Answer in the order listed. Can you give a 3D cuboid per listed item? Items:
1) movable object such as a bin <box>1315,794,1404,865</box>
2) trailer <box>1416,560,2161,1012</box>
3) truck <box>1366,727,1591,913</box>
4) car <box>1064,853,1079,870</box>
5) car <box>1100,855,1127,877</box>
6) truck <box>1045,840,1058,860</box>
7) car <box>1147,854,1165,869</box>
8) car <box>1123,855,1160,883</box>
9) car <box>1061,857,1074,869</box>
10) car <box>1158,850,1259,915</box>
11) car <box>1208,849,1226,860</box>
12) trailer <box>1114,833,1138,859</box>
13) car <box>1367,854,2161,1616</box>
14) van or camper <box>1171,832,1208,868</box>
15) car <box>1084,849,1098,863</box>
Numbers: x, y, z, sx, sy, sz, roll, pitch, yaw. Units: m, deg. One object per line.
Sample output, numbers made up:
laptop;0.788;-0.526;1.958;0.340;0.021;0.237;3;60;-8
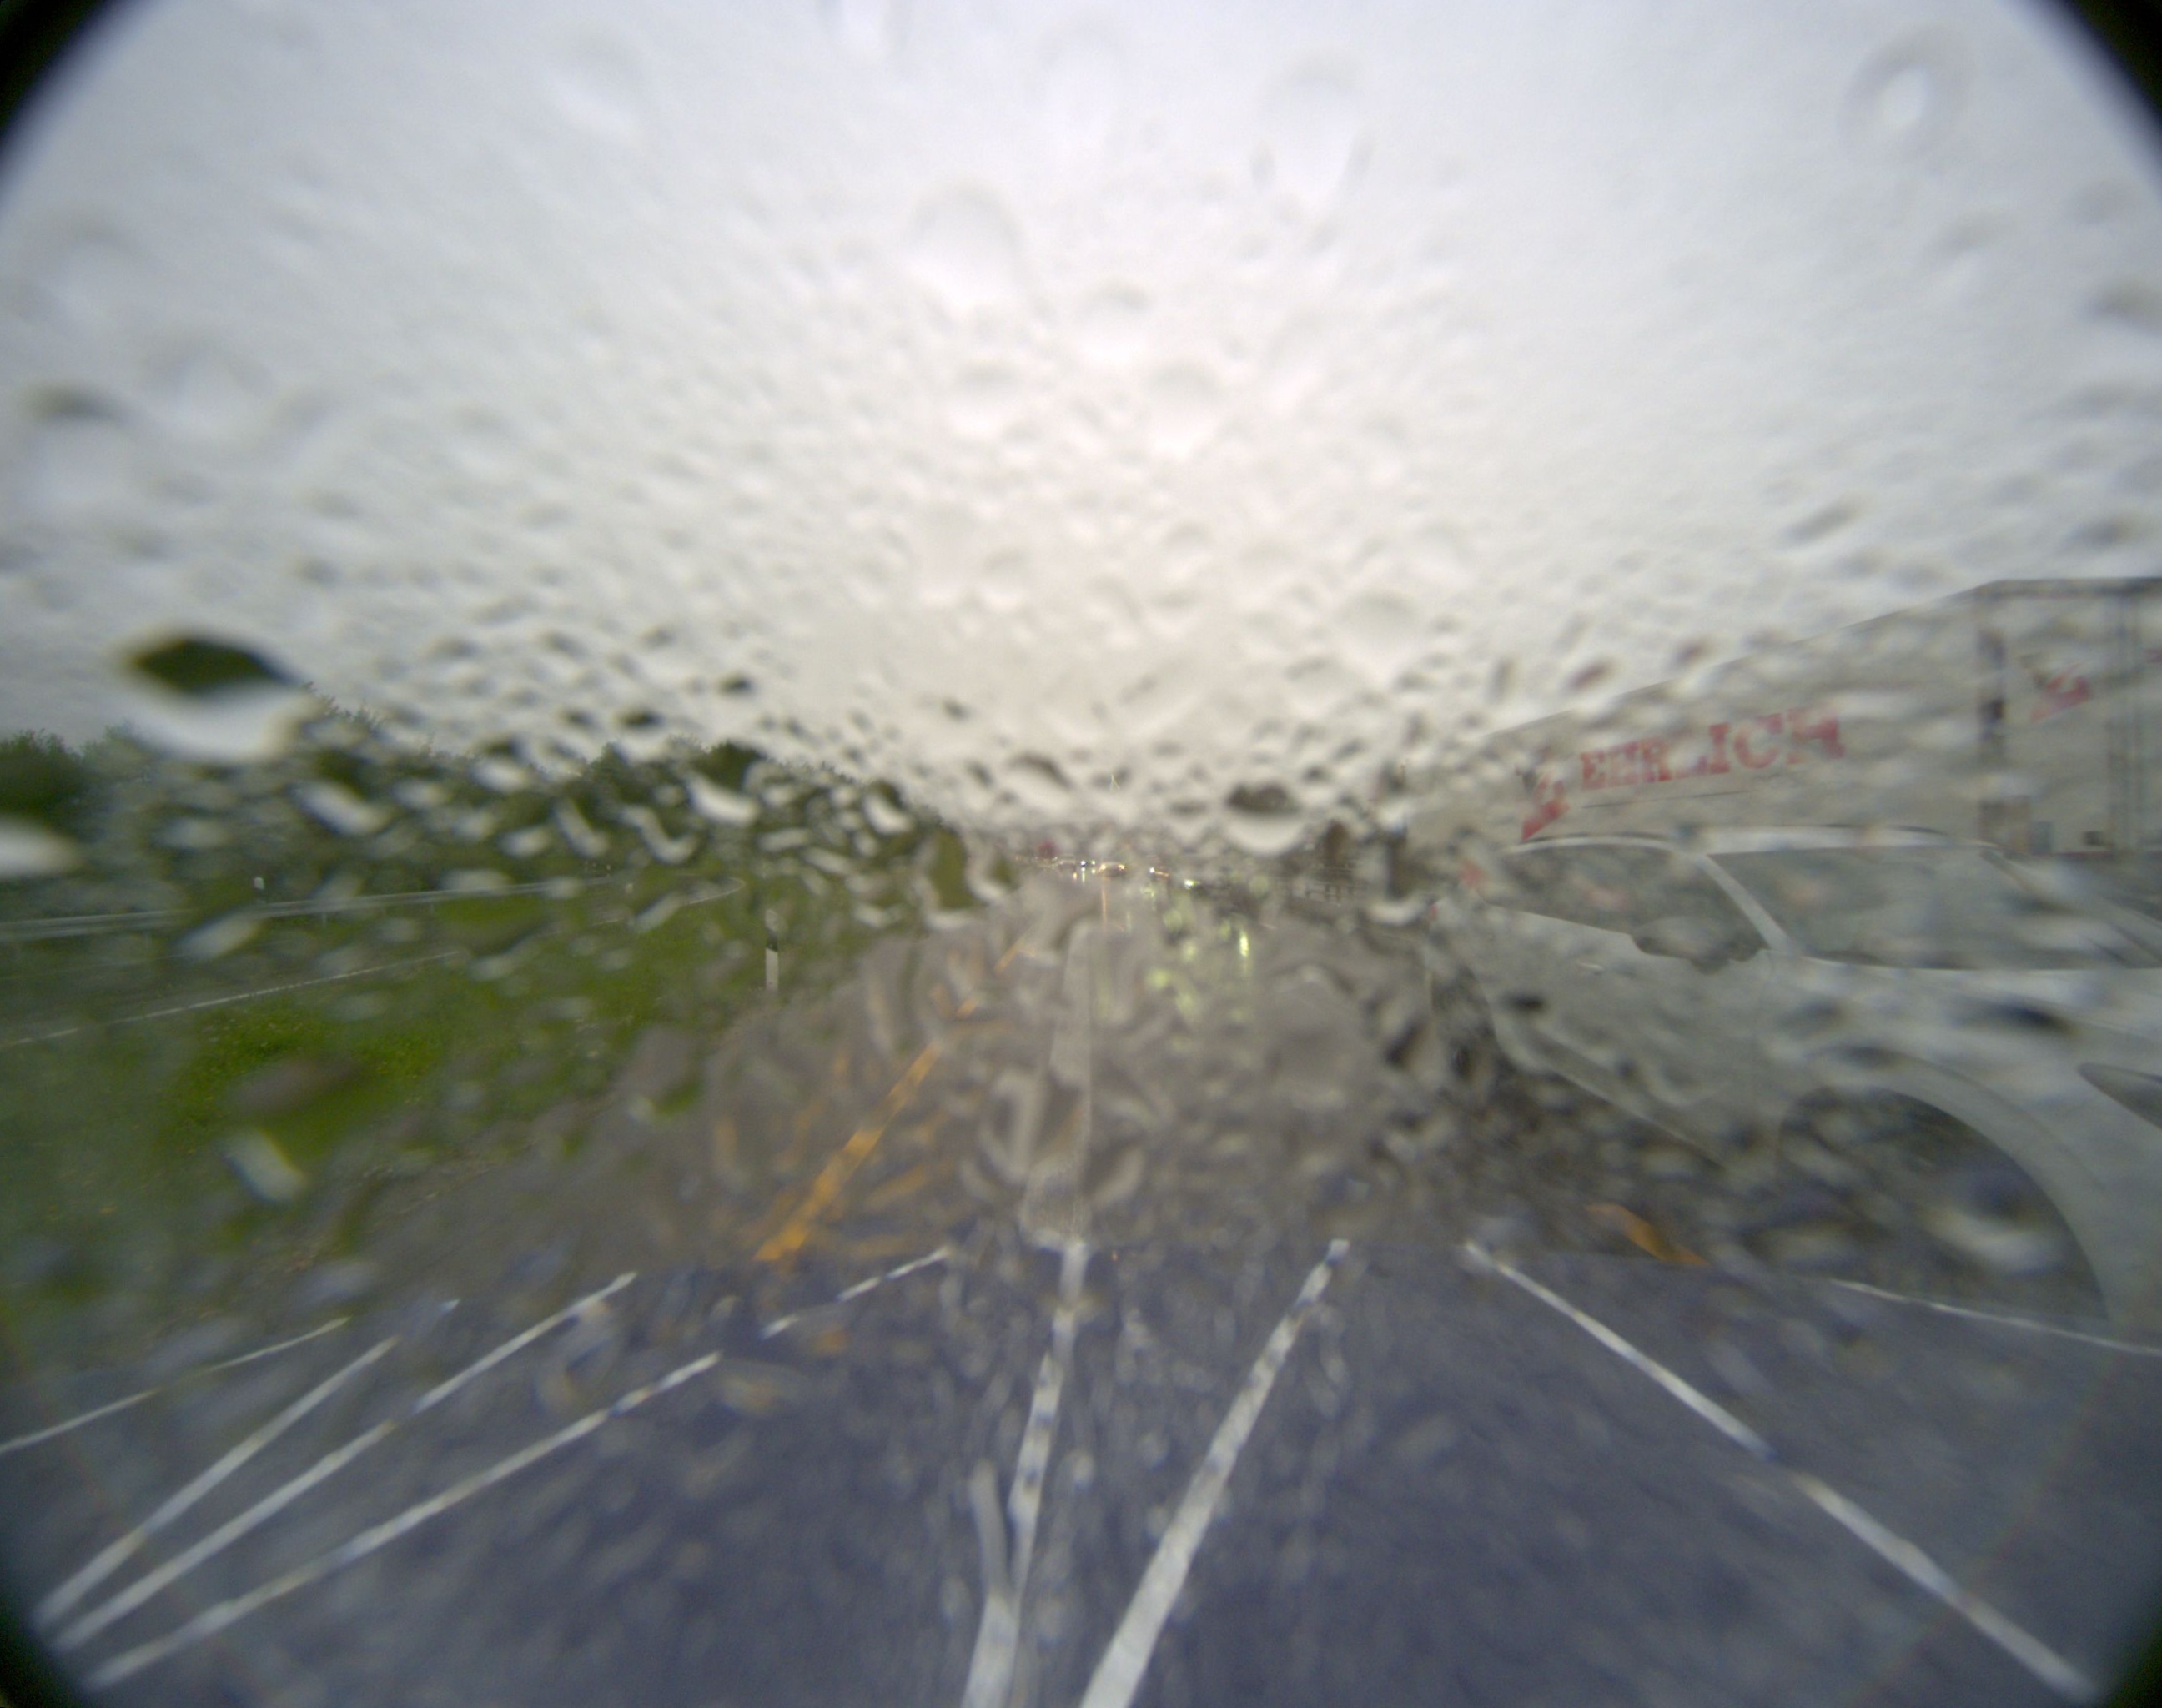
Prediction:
movable object such as a bin;25.592;-2.134;70.617;4.181;5.881;11.044;-3;1;1
trailer;10.219;-0.722;13.654;2.900;4.261;12.893;-1;1;1
truck;10.338;-0.815;20.629;2.896;4.207;6.326;-1;1;1
car;-1.058;0.845;88.283;1.673;1.804;3.999;0;1;-1
car;2.663;0.972;63.104;1.881;1.772;3.999;0;1;-3
truck;-6.426;-0.961;165.168;2.507;4.067;15.197;-3;1;-2
car;9.012;0.852;91.590;1.640;1.658;4.543;-3;1;0
car;3.575;0.845;45.277;1.792;1.480;3.999;-3;1;0
car;-2.050;1.345;113.489;1.674;1.804;3.998;0;1;-5
car;3.517;0.707;21.942;2.069;1.618;5.195;-1;0;1
car;26.326;0.133;147.095;2.100;1.955;5.362;-1;0;-4
trailer;7.491;-1.329;127.874;2.984;4.270;11.057;0;1;-2
car;3.274;0.824;3.599;1.932;1.542;5.006;-2;0;0
van or camper;9.843;-0.341;69.276;2.299;3.024;6.698;-3;1;0
car;1.472;0.283;113.101;1.767;2.002;3.999;-3;1;0
